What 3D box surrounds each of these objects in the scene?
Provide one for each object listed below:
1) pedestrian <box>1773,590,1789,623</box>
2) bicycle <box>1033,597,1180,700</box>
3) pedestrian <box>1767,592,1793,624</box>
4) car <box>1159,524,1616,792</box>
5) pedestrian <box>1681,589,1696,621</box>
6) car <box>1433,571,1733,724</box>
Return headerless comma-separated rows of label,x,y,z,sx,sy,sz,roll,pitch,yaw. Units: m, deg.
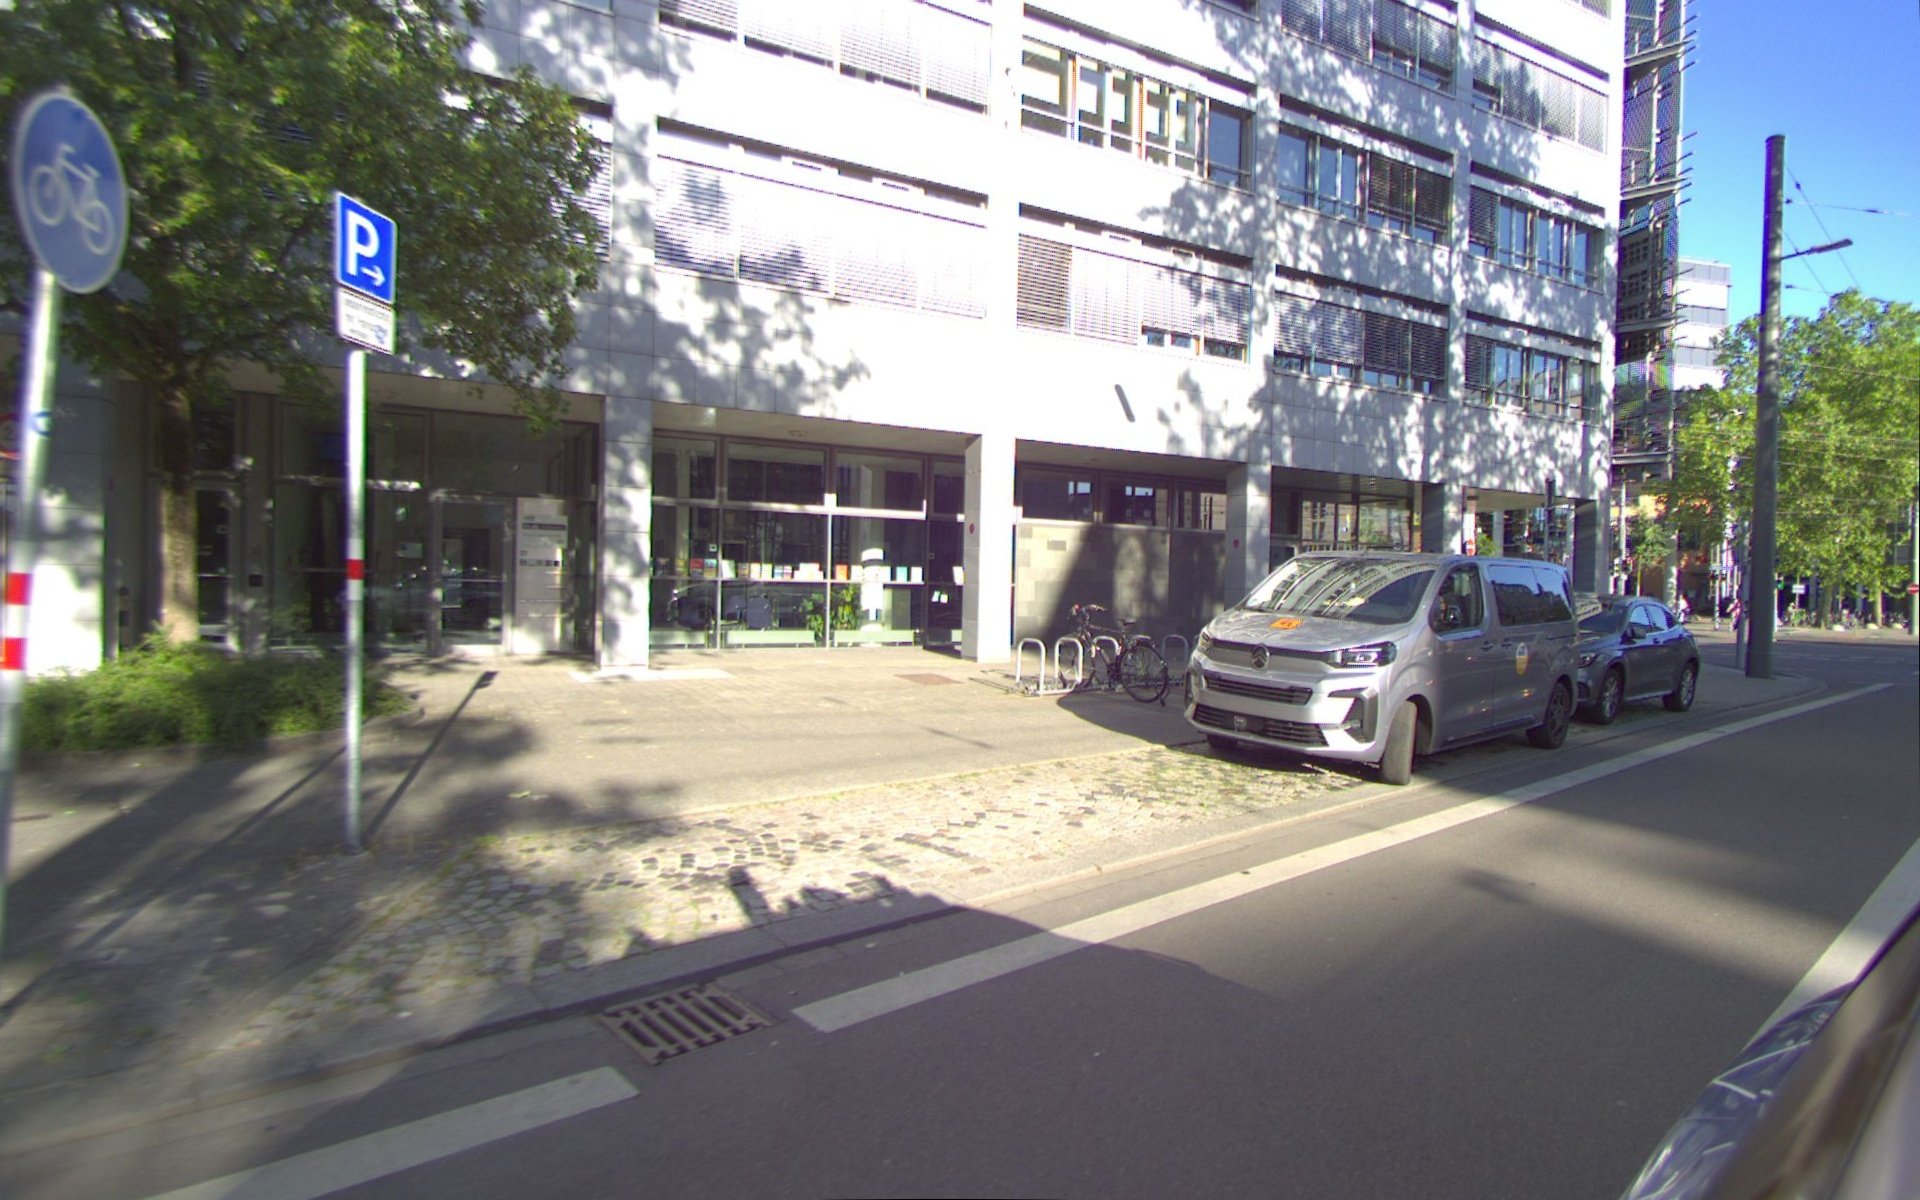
pedestrian,50.055,0.395,61.687,0.520,2.039,0.614,1,0,-40
bicycle,1.752,0.546,12.332,0.655,1.120,1.776,1,1,-40
pedestrian,43.421,0.416,53.579,0.978,1.639,0.603,2,0,35
car,4.200,0.377,9.535,4.774,1.928,1.922,0,3,-40
pedestrian,40.144,0.260,55.759,0.607,1.765,0.658,1,0,39
car,8.243,0.530,13.316,3.941,1.661,1.924,1,3,-35
